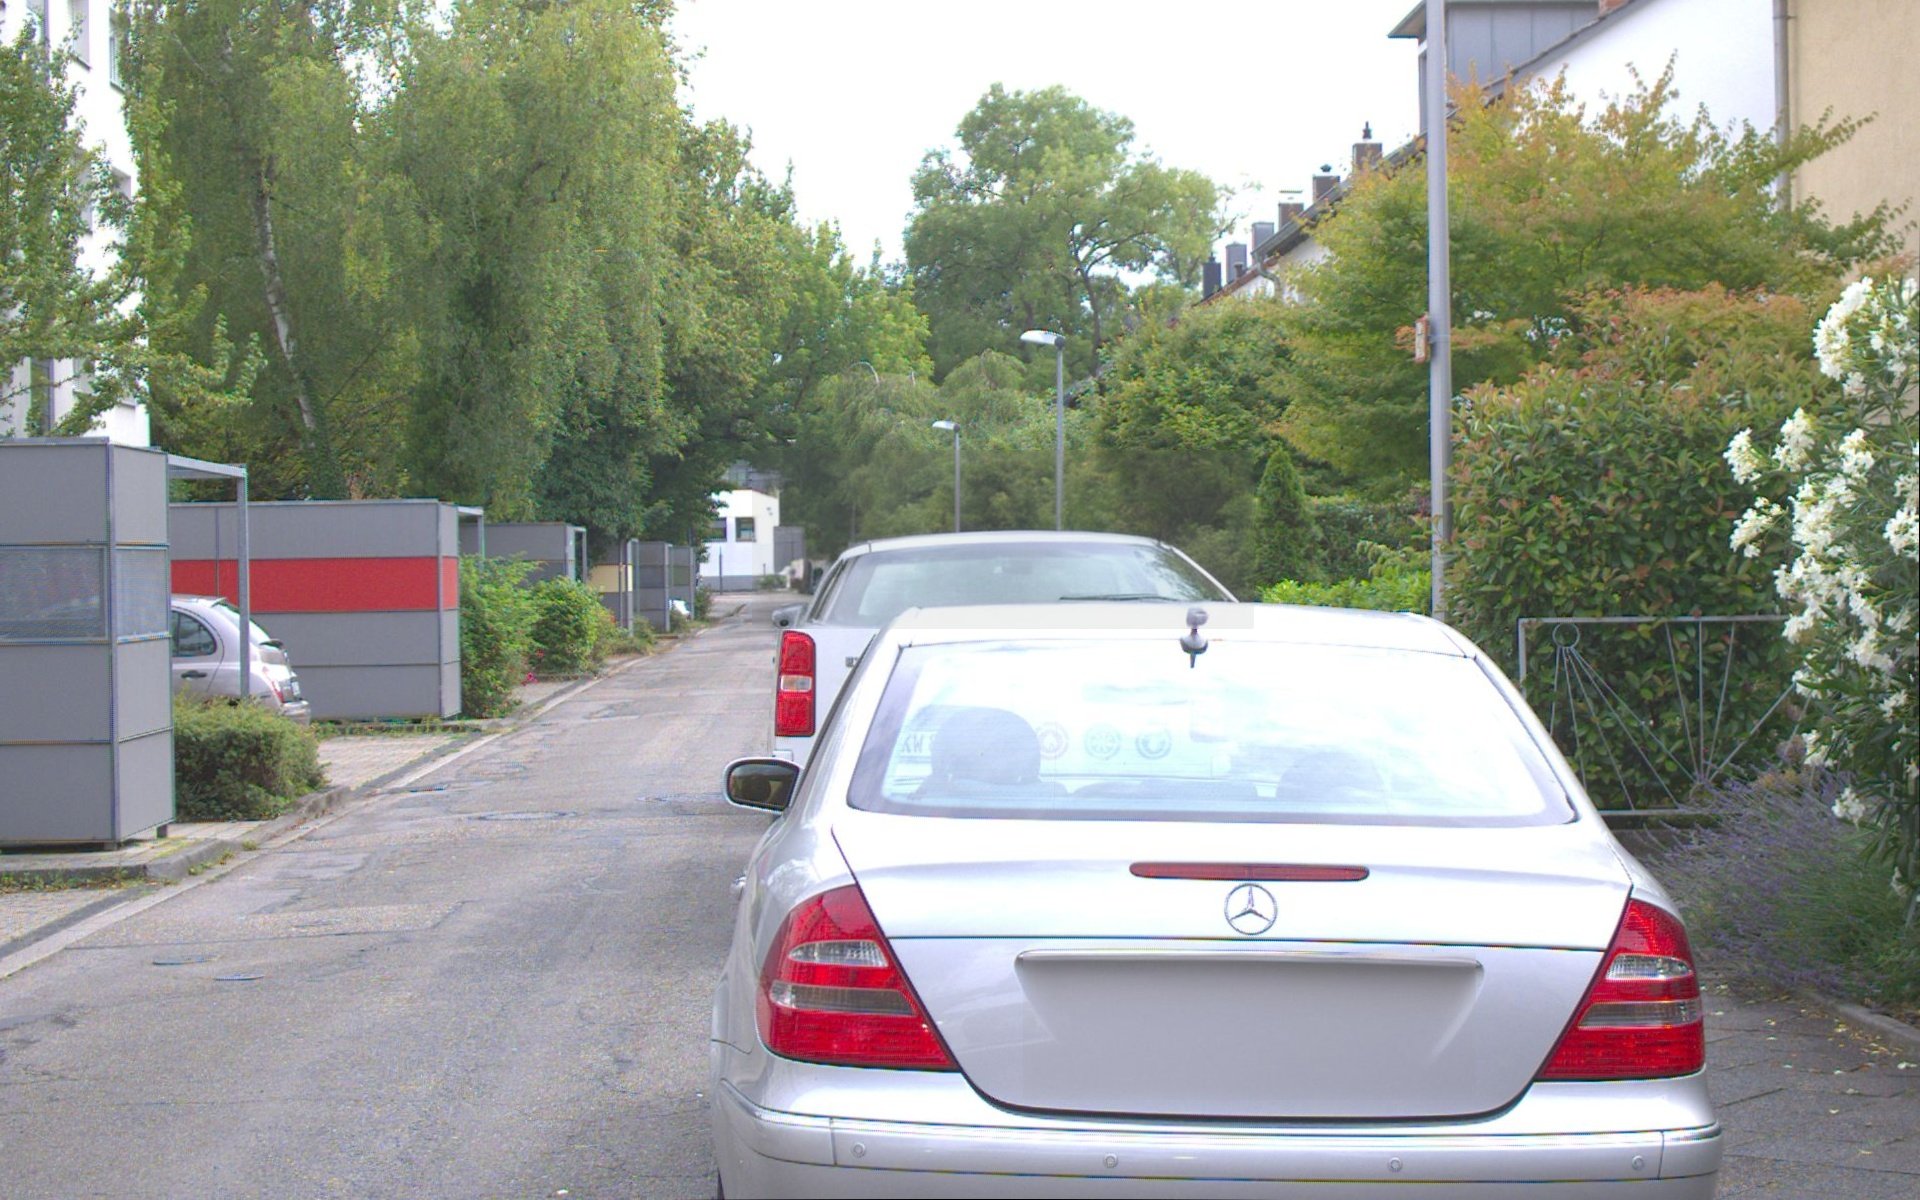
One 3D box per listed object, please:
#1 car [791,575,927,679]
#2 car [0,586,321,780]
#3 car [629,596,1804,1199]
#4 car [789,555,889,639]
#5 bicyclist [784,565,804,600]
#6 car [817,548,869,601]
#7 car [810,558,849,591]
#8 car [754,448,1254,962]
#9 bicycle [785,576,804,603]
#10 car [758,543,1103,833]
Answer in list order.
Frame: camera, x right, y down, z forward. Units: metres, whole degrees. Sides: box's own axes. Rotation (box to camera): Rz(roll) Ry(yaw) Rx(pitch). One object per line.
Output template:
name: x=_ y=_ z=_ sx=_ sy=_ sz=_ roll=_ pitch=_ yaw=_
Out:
car: x=-1.441 y=0.355 z=48.909 sx=1.825 sy=1.365 sz=4.331 roll=1 pitch=1 yaw=-2
car: x=-7.253 y=0.692 z=28.826 sx=3.561 sy=1.475 sz=1.711 roll=-2 pitch=1 yaw=-6
car: x=0.366 y=0.727 z=7.467 sx=1.783 sy=1.416 sz=4.455 roll=0 pitch=1 yaw=-1
car: x=-2.415 y=-0.074 z=67.781 sx=1.825 sy=1.576 sz=4.001 roll=1 pitch=1 yaw=-4
bicyclist: x=-7.188 y=-0.757 z=149.250 sx=0.798 sy=1.506 sz=0.934 roll=1 pitch=0 yaw=0
car: x=-4.237 y=-0.934 z=124.423 sx=1.825 sy=1.877 sz=4.000 roll=1 pitch=1 yaw=-2
car: x=-6.254 y=-1.236 z=165.438 sx=1.825 sy=1.576 sz=4.000 roll=1 pitch=1 yaw=-2
car: x=0.044 y=0.380 z=15.786 sx=1.903 sy=1.958 sz=5.254 roll=0 pitch=1 yaw=-3
bicycle: x=-7.199 y=-0.454 z=149.218 sx=0.689 sy=1.127 sz=2.579 roll=1 pitch=0 yaw=0
car: x=-0.285 y=0.480 z=21.493 sx=1.824 sy=1.630 sz=4.163 roll=0 pitch=1 yaw=-5
